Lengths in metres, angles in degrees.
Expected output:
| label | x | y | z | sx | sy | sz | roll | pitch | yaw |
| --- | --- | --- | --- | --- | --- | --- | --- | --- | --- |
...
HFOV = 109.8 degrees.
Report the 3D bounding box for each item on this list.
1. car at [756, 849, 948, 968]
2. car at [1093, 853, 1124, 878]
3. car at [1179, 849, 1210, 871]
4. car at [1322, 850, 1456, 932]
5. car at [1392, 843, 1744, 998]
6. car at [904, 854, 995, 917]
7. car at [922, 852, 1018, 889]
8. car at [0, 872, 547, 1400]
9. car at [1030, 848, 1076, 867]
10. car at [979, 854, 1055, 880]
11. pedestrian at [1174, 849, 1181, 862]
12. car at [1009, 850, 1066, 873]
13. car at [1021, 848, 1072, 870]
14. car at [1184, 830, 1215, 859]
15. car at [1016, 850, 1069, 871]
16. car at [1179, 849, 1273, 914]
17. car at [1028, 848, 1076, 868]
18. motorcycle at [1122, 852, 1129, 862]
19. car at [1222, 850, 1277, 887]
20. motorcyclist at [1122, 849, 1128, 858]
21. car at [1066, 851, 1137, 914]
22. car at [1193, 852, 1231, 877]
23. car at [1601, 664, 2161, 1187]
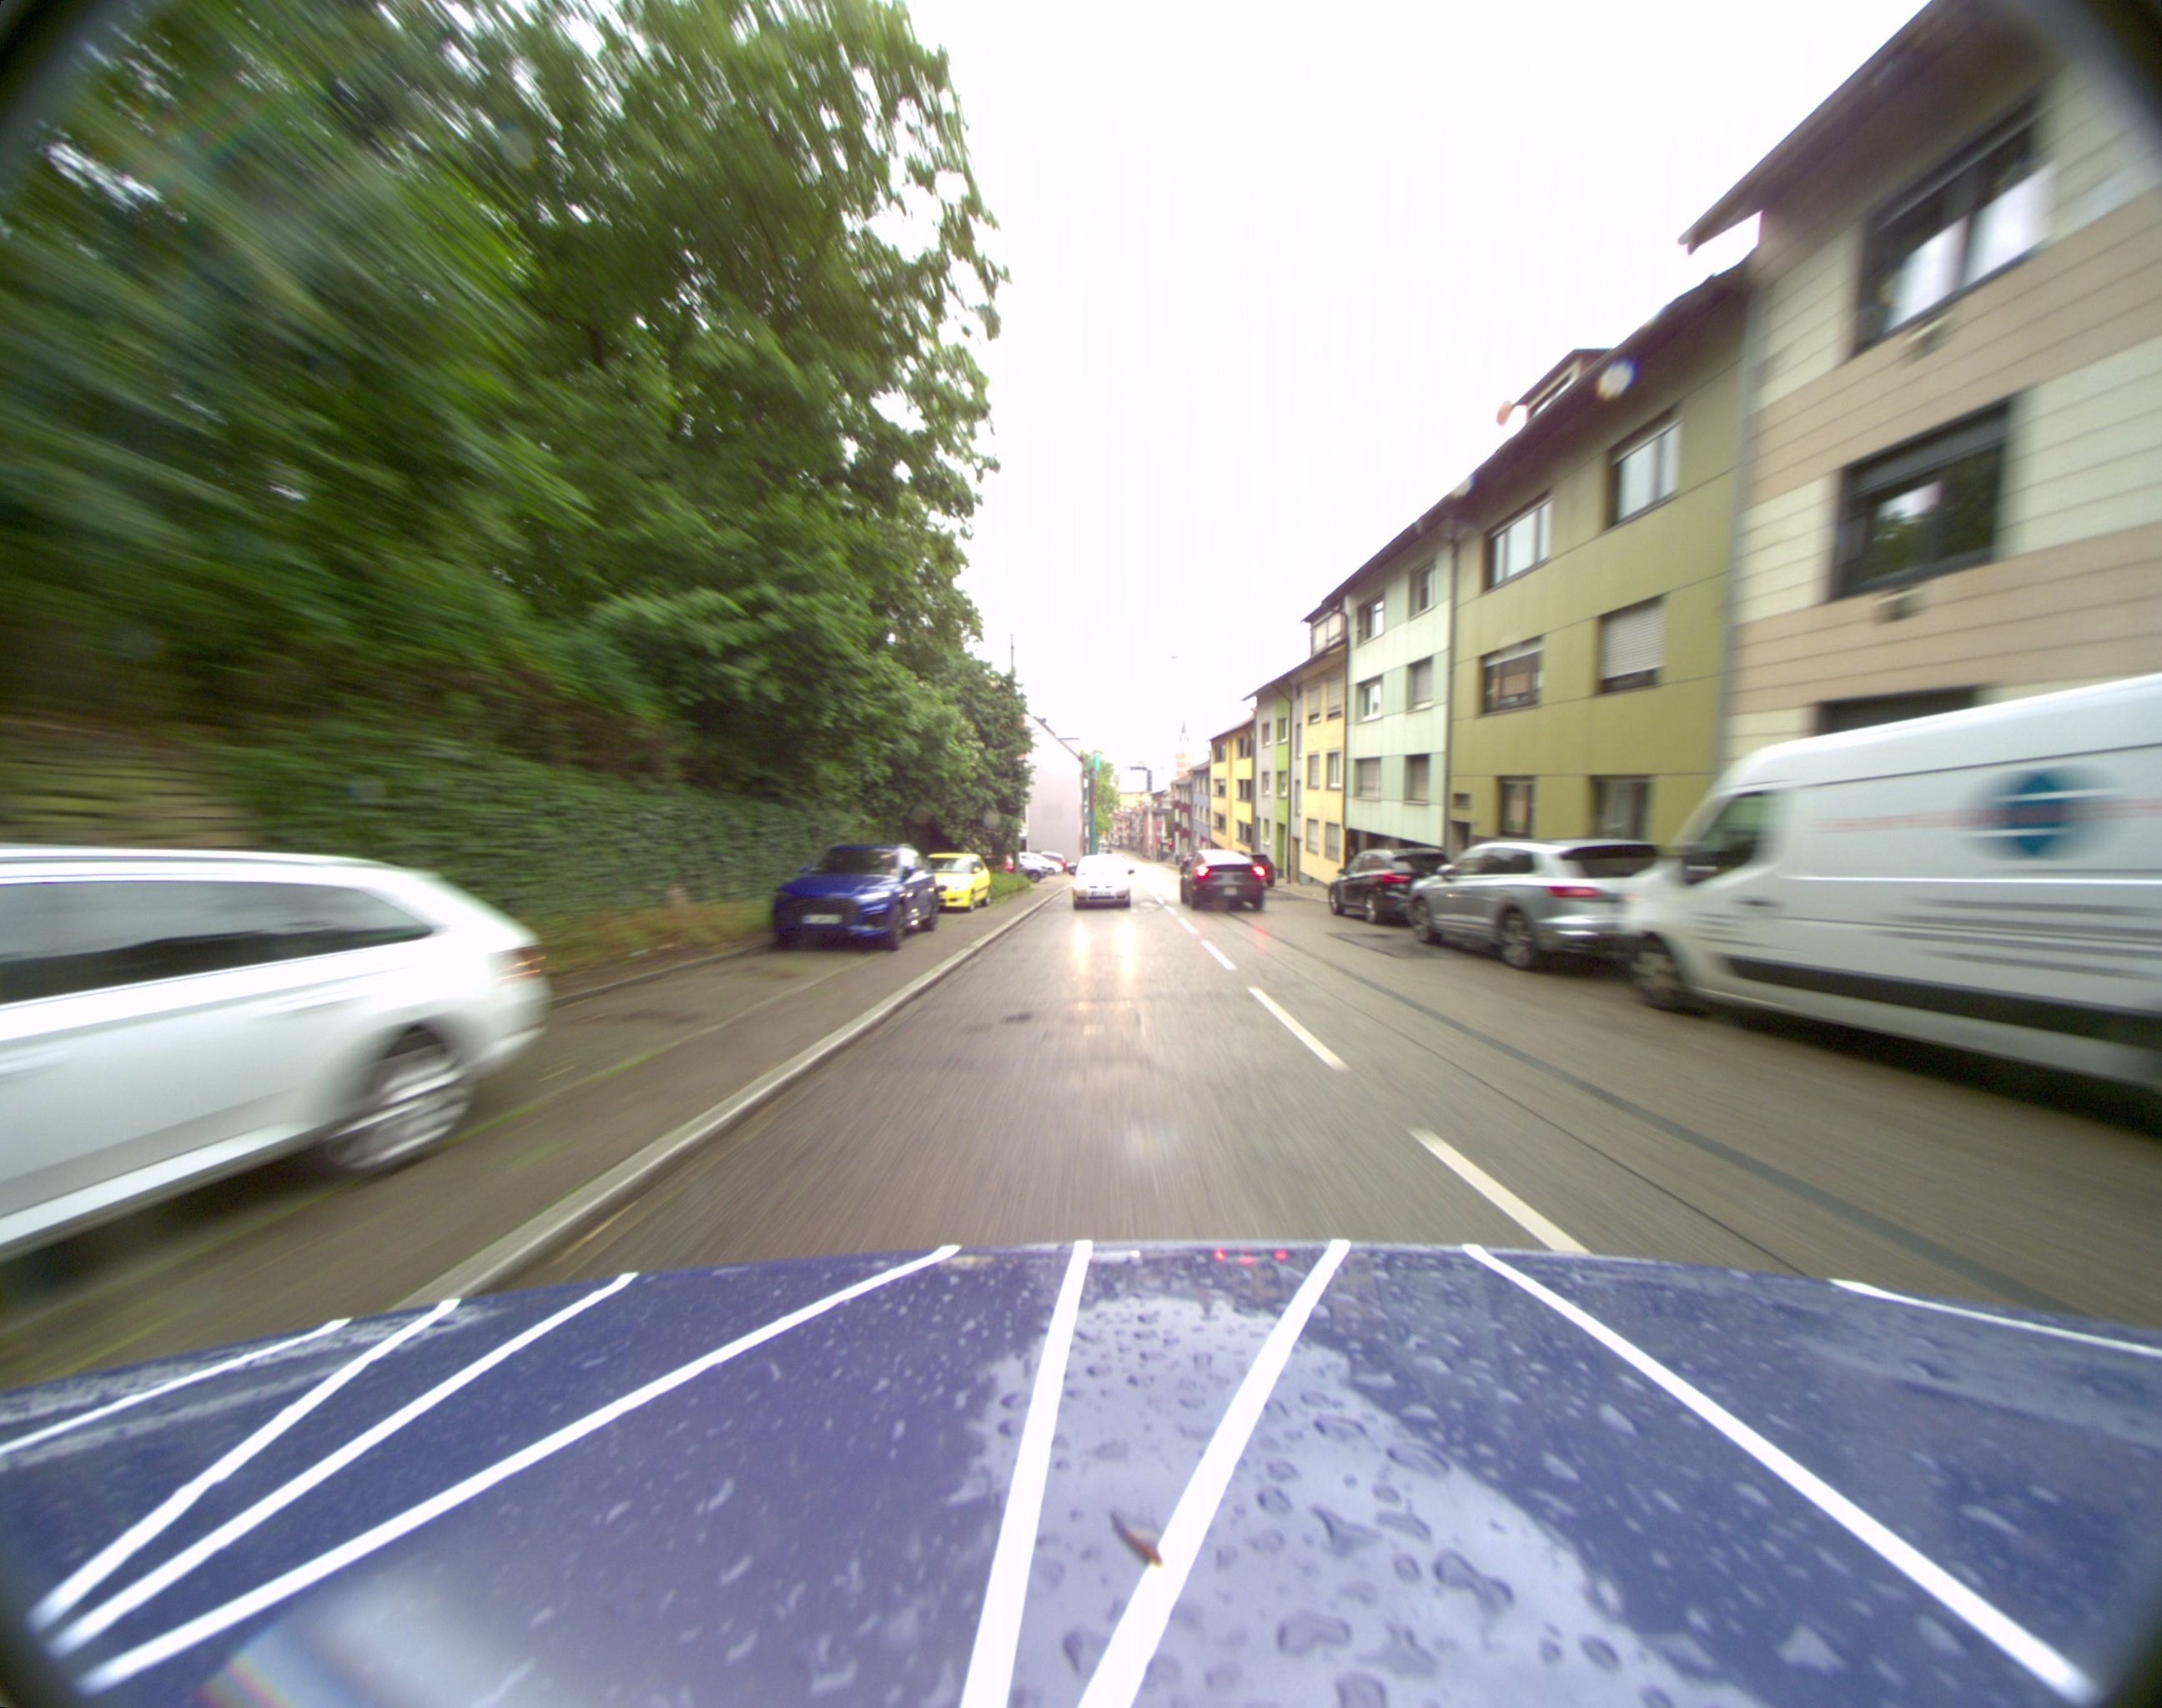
| label | x | y | z | sx | sy | sz | roll | pitch | yaw |
| --- | --- | --- | --- | --- | --- | --- | --- | --- | --- |
| car | -3.615 | 0.755 | 12.974 | 1.769 | 1.614 | 4.679 | 0 | 1 | 1 |
| car | 1.856 | 0.734 | 52.352 | 1.998 | 1.603 | 3.967 | -1 | 1 | 1 |
| car | 8.770 | 0.429 | 59.088 | 1.908 | 1.647 | 4.328 | 0 | 1 | 2 |
| car | 6.852 | 0.727 | 17.392 | 1.414 | 1.605 | 4.383 | 1 | 1 | 2 |
| car | 6.528 | 0.741 | 11.076 | 1.971 | 1.729 | 4.884 | 1 | 0 | 0 |
| car | -3.393 | 0.766 | 20.320 | 1.567 | 1.458 | 3.899 | 2 | 1 | 3 |
| car | -5.196 | 0.780 | 35.902 | 4.193 | 1.584 | 1.803 | -1 | 1 | 2 |
| car | -4.088 | 0.874 | 2.071 | 1.742 | 1.469 | 4.740 | 1 | 0 | 3 |
| car | -2.636 | 0.346 | 71.569 | 4.193 | 1.565 | 1.803 | 2 | 1 | 2 |
| car | -3.642 | 0.725 | 43.685 | 4.193 | 1.408 | 1.803 | 1 | 1 | 2 |
| pedestrian | 12.201 | 0.149 | 96.023 | 0.805 | 1.608 | 0.455 | -1 | 1 | 4 |
| car | -3.312 | 0.535 | 58.229 | 4.193 | 1.565 | 1.803 | 2 | 1 | 2 |
| car | -2.984 | 0.408 | 65.519 | 4.193 | 1.635 | 1.803 | 2 | 2 | 2 |
| car | 10.875 | -0.854 | 69.949 | 2.122 | 2.536 | 5.444 | 1 | 1 | 2 |
| car | -3.188 | 0.525 | 63.037 | 4.193 | 1.565 | 1.803 | 2 | 1 | 2 |
| car | 3.930 | 0.675 | 21.375 | 1.941 | 1.615 | 4.500 | 0 | 0 | 2 |
| car | -2.587 | 0.364 | 69.366 | 4.193 | 1.565 | 1.803 | 2 | 1 | 2 |
| motorcycle | 5.602 | 0.350 | 96.114 | 0.778 | 1.120 | 2.299 | -2 | 1 | 4 |
| car | 7.679 | 0.597 | 34.916 | 1.696 | 1.584 | 4.000 | 0 | 1 | 1 |
| motorcyclist | 5.577 | -0.094 | 96.109 | 0.778 | 1.120 | 0.549 | -2 | 1 | 4 |
| car | 0.710 | 0.762 | 22.490 | 1.825 | 1.603 | 4.189 | -2 | 1 | 5 |
| car | 8.499 | 0.649 | 49.589 | 1.908 | 1.528 | 4.000 | 0 | 1 | 2 |
| car | 6.345 | 0.356 | 5.026 | 2.122 | 2.536 | 5.444 | 1 | 1 | 2 |
